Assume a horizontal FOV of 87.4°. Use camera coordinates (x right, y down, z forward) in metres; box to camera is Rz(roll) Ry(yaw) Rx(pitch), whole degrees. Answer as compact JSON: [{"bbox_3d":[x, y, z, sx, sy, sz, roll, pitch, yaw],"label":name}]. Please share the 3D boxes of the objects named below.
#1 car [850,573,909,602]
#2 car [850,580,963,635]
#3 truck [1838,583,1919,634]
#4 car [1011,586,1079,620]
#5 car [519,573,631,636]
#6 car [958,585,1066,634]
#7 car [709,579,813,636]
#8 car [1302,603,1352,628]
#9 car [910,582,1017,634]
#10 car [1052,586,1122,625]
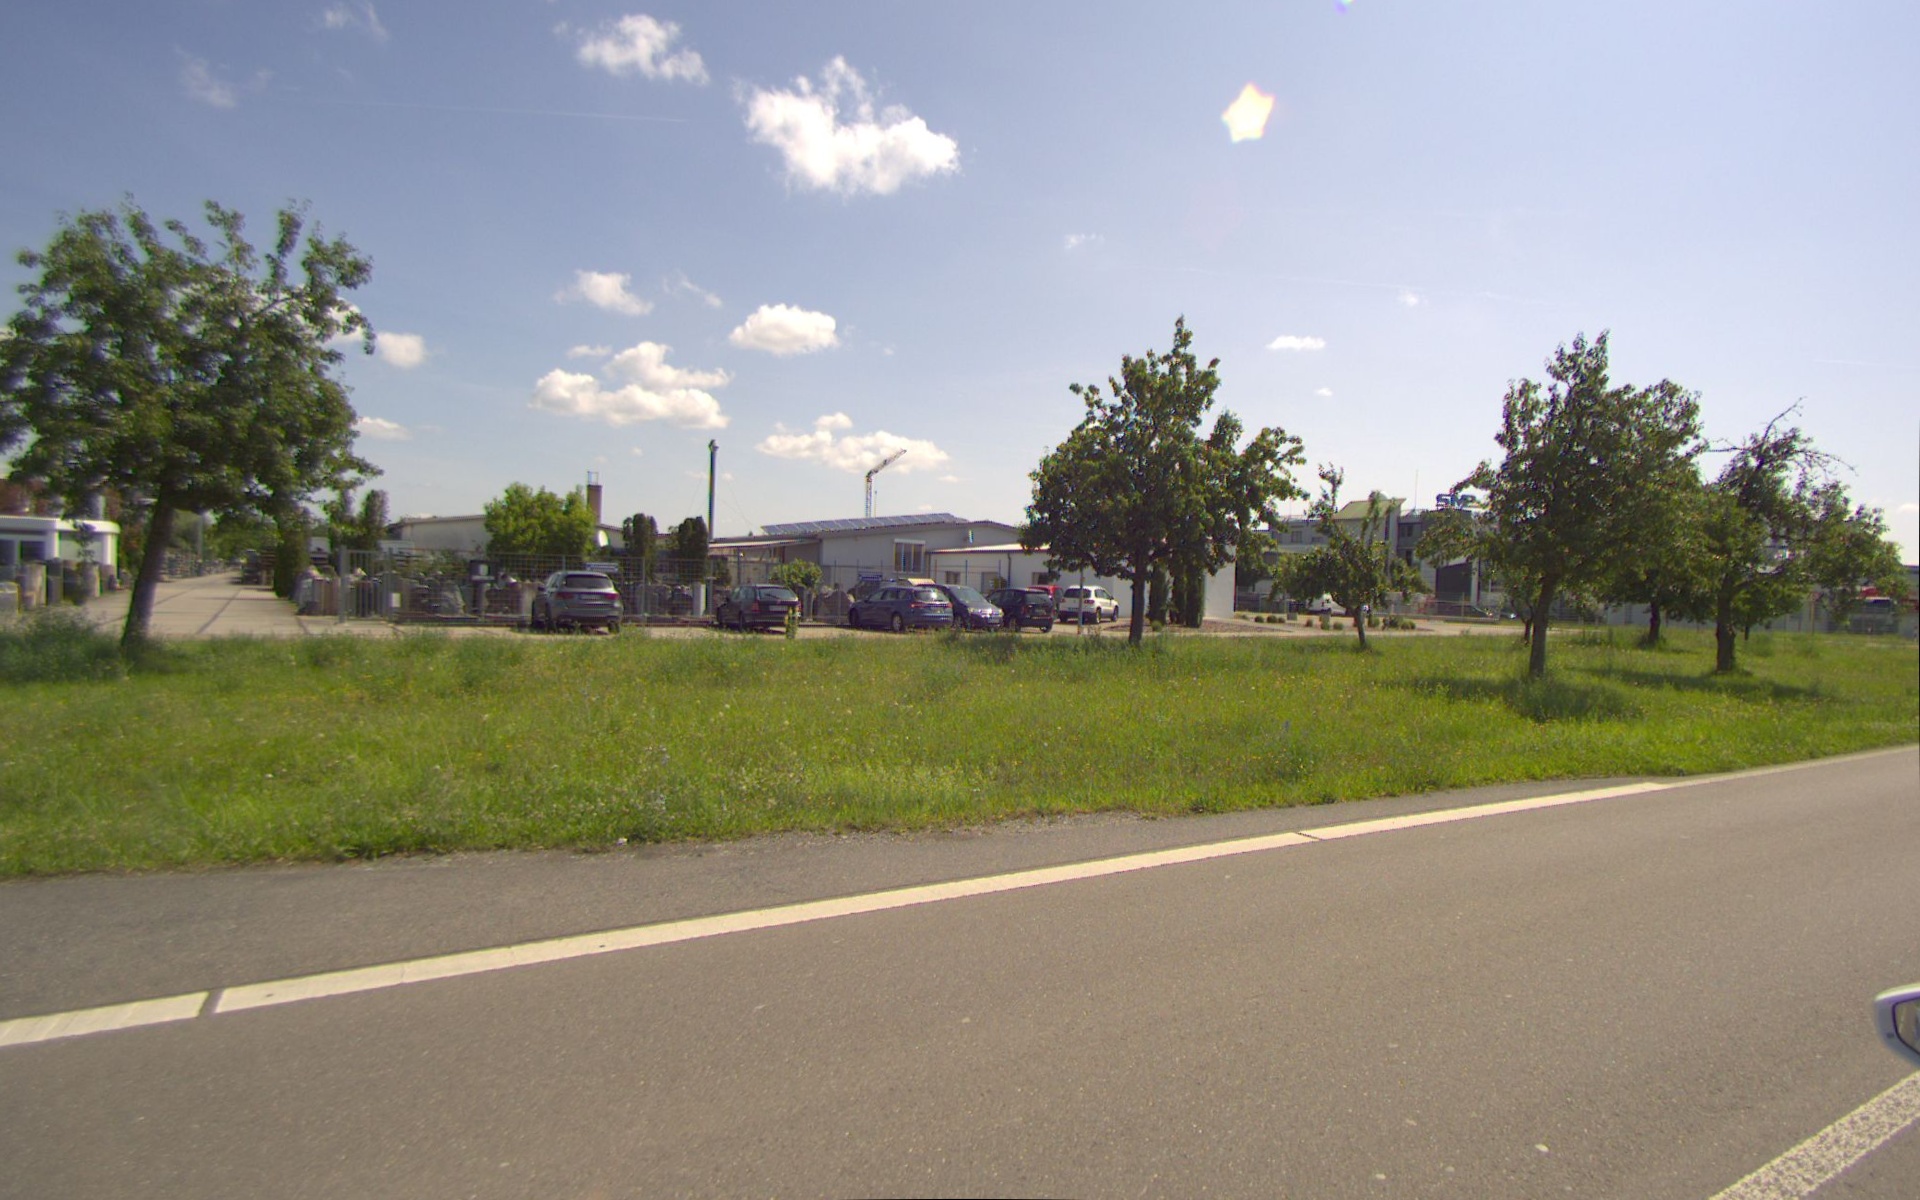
[{"bbox_3d":[-4.757,-0.749,58.902,1.975,1.504,4.140,1,1,-27],"label":"car"},{"bbox_3d":[-1.856,0.229,33.671,1.980,1.662,3.960,1,1,-35],"label":"car"},{"bbox_3d":[70.102,0.684,76.349,10.166,3.606,2.734,1,1,-36],"label":"truck"},{"bbox_3d":[4.214,0.137,49.228,1.962,1.549,4.166,3,1,25],"label":"car"},{"bbox_3d":[-10.648,0.087,27.619,1.980,1.548,3.960,1,1,-35],"label":"car"},{"bbox_3d":[1.891,0.327,37.384,1.980,1.662,3.960,1,1,-35],"label":"car"},{"bbox_3d":[-6.143,0.189,30.685,1.649,1.576,3.960,1,1,-35],"label":"car"},{"bbox_3d":[31.947,1.312,87.427,4.704,2.041,1.976,1,2,-41],"label":"car"},{"bbox_3d":[0.068,0.268,35.702,1.840,1.662,3.960,1,1,-35],"label":"car"},{"bbox_3d":[5.914,0.237,46.407,1.962,1.662,4.166,3,1,25],"label":"car"}]
